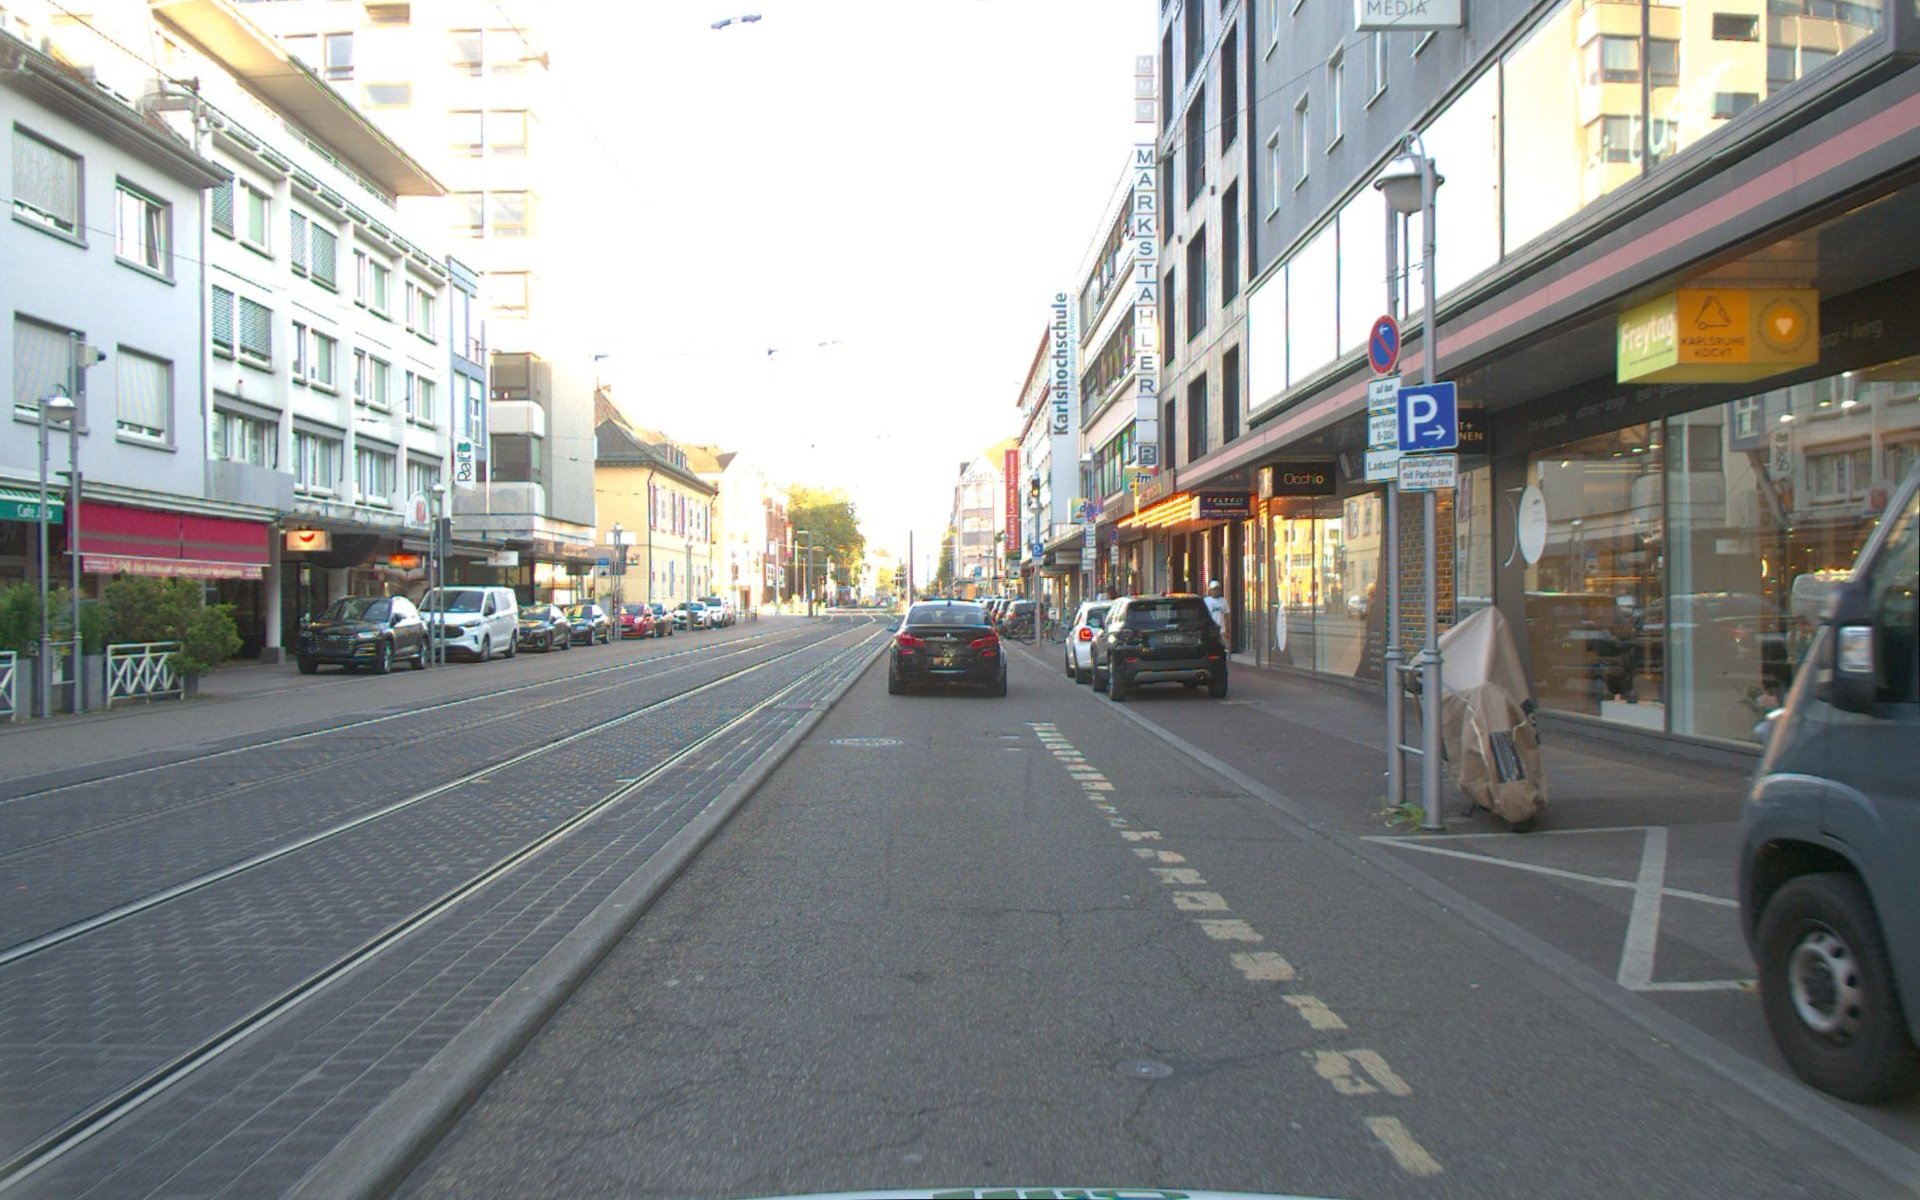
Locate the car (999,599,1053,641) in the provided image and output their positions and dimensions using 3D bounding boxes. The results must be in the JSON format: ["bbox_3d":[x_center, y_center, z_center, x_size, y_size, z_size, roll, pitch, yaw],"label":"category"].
[{"bbox_3d":[2.514,0.755,63.911,1.864,1.576,3.999,0,-1,-1],"label":"car"}]

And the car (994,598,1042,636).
[{"bbox_3d":[2.466,0.724,70.815,1.864,1.576,3.779,0,-1,-1],"label":"car"}]

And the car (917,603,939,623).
[{"bbox_3d":[-2.503,1.024,129.091,1.738,1.576,3.502,0,-1,-1],"label":"car"}]

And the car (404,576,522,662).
[{"bbox_3d":[-13.403,0.477,44.863,1.954,2.194,4.907,-1,0,-3],"label":"car"}]

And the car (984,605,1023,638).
[{"bbox_3d":[2.102,1.029,79.993,1.738,1.576,3.502,0,-1,-1],"label":"car"}]

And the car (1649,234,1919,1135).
[{"bbox_3d":[3.694,0.212,3.446,1.992,2.498,5.406,-2,0,-2],"label":"car"}]

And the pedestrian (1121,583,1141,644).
[{"bbox_3d":[5.166,0.410,50.004,0.497,1.824,0.760,-1,0,-1],"label":"pedestrian"}]

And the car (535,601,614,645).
[{"bbox_3d":[-13.737,0.798,59.169,1.889,1.460,4.245,1,0,-1],"label":"car"}]

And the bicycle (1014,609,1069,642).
[{"bbox_3d":[2.702,0.850,54.860,1.823,1.099,0.468,0,-1,0],"label":"bicycle"}]

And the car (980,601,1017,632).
[{"bbox_3d":[1.977,0.841,85.563,1.738,1.576,3.502,0,-1,-1],"label":"car"}]

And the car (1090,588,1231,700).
[{"bbox_3d":[3.058,0.630,25.890,1.621,1.564,3.884,-2,0,-1],"label":"car"}]

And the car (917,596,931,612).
[{"bbox_3d":[-4.773,0.531,219.848,1.953,1.870,3.998,0,-3,-1],"label":"car"}]

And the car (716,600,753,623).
[{"bbox_3d":[-14.711,0.741,107.967,1.889,1.460,4.245,1,0,-1],"label":"car"}]

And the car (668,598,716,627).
[{"bbox_3d":[-14.195,0.635,87.722,1.889,1.460,4.245,-1,0,-1],"label":"car"}]

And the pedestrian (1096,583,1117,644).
[{"bbox_3d":[4.450,0.416,50.293,0.542,1.823,0.759,-1,0,-1],"label":"pedestrian"}]

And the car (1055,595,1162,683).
[{"bbox_3d":[2.722,0.679,31.019,1.528,1.467,3.708,-3,0,-1],"label":"car"}]

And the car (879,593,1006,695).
[{"bbox_3d":[-0.244,0.677,27.111,1.913,1.525,4.465,0,0,0],"label":"car"}]

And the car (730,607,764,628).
[{"bbox_3d":[-15.000,1.215,116.865,1.889,1.460,4.245,1,0,-1],"label":"car"}]

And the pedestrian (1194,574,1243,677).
[{"bbox_3d":[4.541,0.442,29.087,0.674,1.771,0.820,-2,0,0],"label":"pedestrian"}]

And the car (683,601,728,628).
[{"bbox_3d":[-14.369,0.808,93.526,1.889,1.460,4.245,1,0,-1],"label":"car"}]

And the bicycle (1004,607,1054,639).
[{"bbox_3d":[2.519,0.842,60.601,1.823,1.139,0.468,0,-1,0],"label":"bicycle"}]

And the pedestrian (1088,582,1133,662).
[{"bbox_3d":[3.191,0.469,35.083,0.554,1.676,0.748,-1,0,-42],"label":"pedestrian"}]

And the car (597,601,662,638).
[{"bbox_3d":[-13.773,0.786,69.118,1.889,1.460,4.245,1,0,-1],"label":"car"}]

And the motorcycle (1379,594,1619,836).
[{"bbox_3d":[3.596,0.709,11.278,0.827,1.443,2.164,-3,0,-1],"label":"motorcycle"}]

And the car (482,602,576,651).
[{"bbox_3d":[-13.570,0.800,52.264,1.889,1.460,4.245,1,0,-1],"label":"car"}]

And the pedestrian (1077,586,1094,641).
[{"bbox_3d":[3.974,0.417,52.339,0.465,1.729,0.752,-1,0,3],"label":"pedestrian"}]

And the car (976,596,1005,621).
[{"bbox_3d":[1.982,0.566,107.157,1.738,1.576,3.502,0,-1,-1],"label":"car"}]

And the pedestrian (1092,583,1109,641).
[{"bbox_3d":[4.448,0.366,52.320,0.478,1.821,0.760,-1,0,3],"label":"pedestrian"}]

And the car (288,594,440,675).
[{"bbox_3d":[-13.300,0.730,37.185,1.822,1.707,4.463,1,0,-1],"label":"car"}]

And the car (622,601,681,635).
[{"bbox_3d":[-13.805,0.805,74.258,1.889,1.460,4.245,1,0,-1],"label":"car"}]
